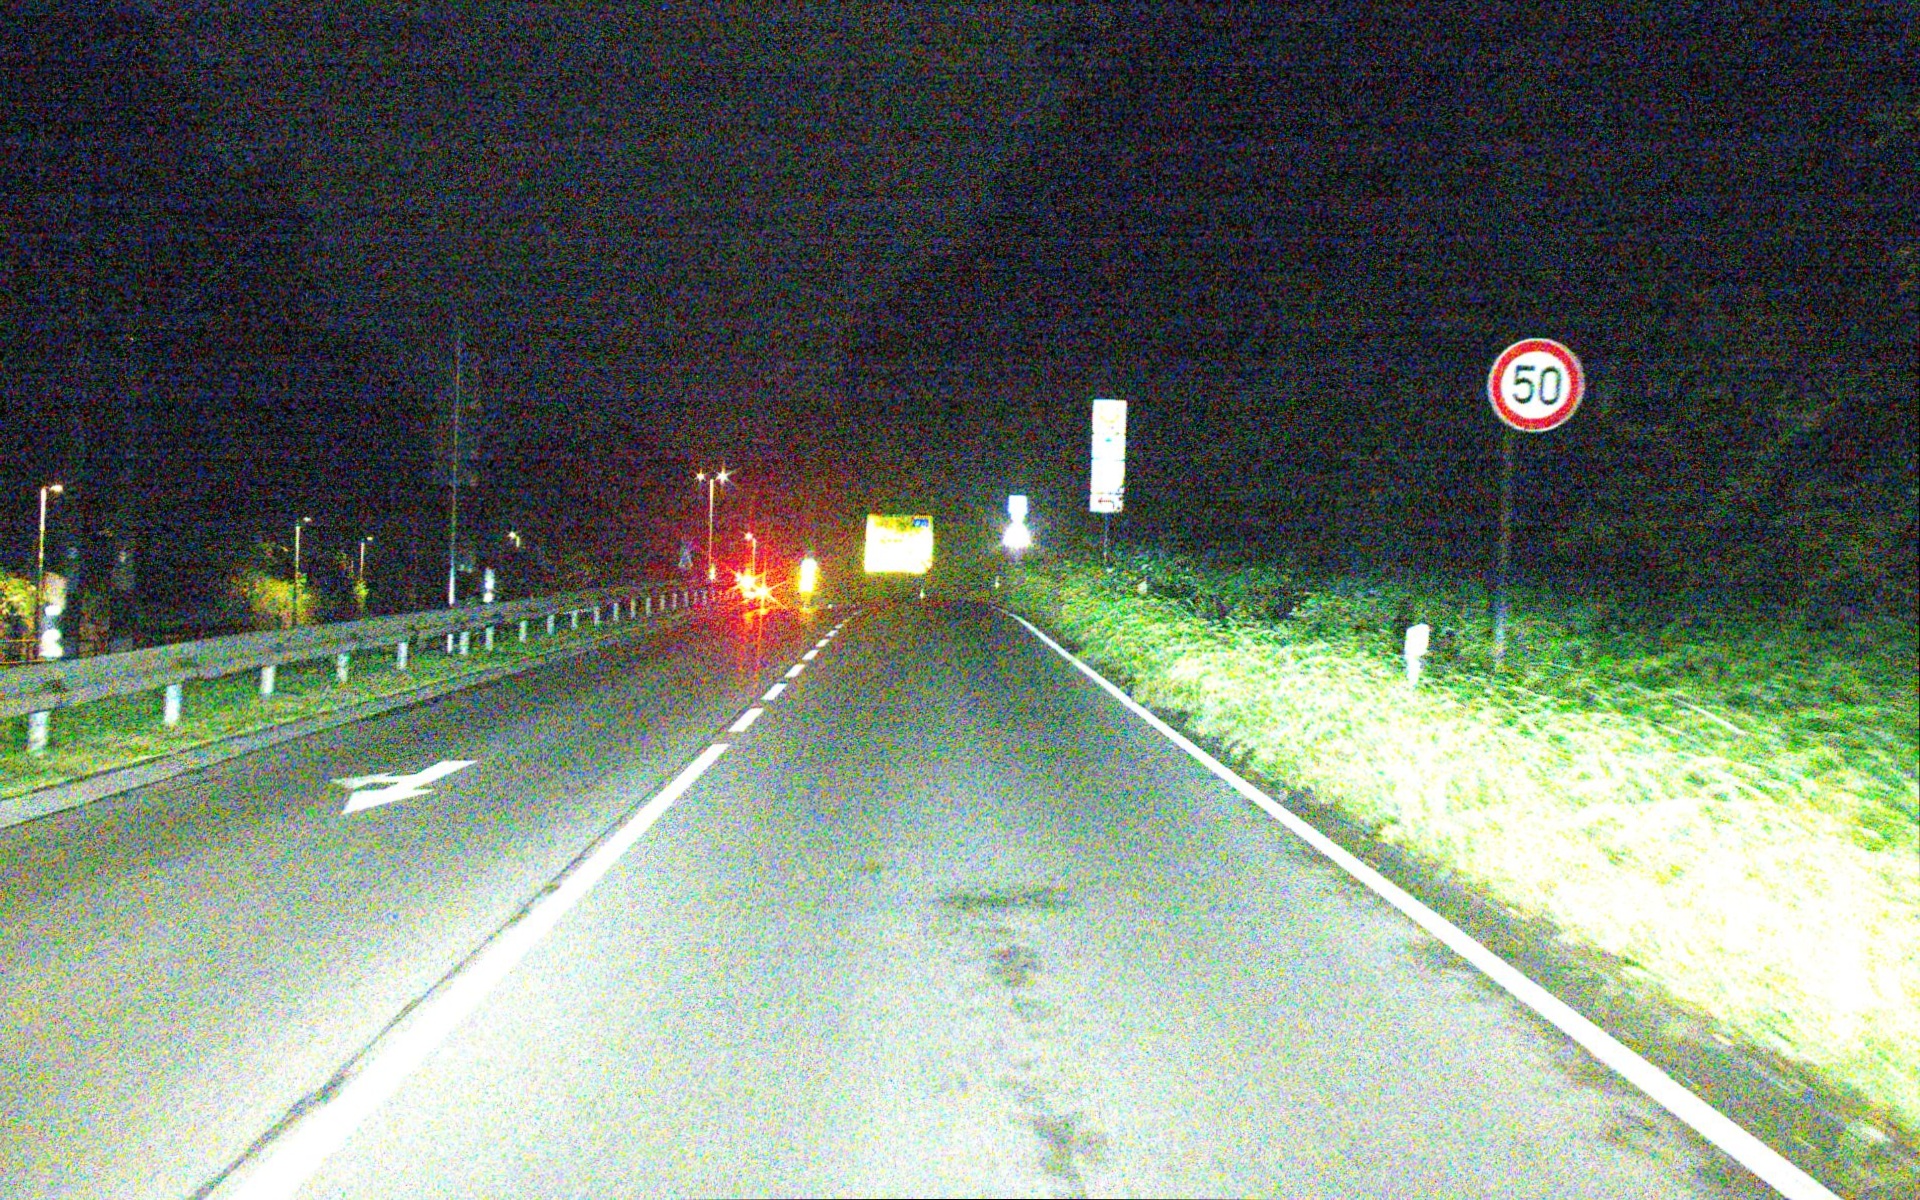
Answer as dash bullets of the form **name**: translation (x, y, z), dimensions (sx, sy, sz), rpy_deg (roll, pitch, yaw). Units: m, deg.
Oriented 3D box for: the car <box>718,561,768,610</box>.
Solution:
- **car**: translation (-9.949, -0.660, 157.462), dimensions (1.993, 2.007, 4.000), rpy_deg (3, -2, -7)
